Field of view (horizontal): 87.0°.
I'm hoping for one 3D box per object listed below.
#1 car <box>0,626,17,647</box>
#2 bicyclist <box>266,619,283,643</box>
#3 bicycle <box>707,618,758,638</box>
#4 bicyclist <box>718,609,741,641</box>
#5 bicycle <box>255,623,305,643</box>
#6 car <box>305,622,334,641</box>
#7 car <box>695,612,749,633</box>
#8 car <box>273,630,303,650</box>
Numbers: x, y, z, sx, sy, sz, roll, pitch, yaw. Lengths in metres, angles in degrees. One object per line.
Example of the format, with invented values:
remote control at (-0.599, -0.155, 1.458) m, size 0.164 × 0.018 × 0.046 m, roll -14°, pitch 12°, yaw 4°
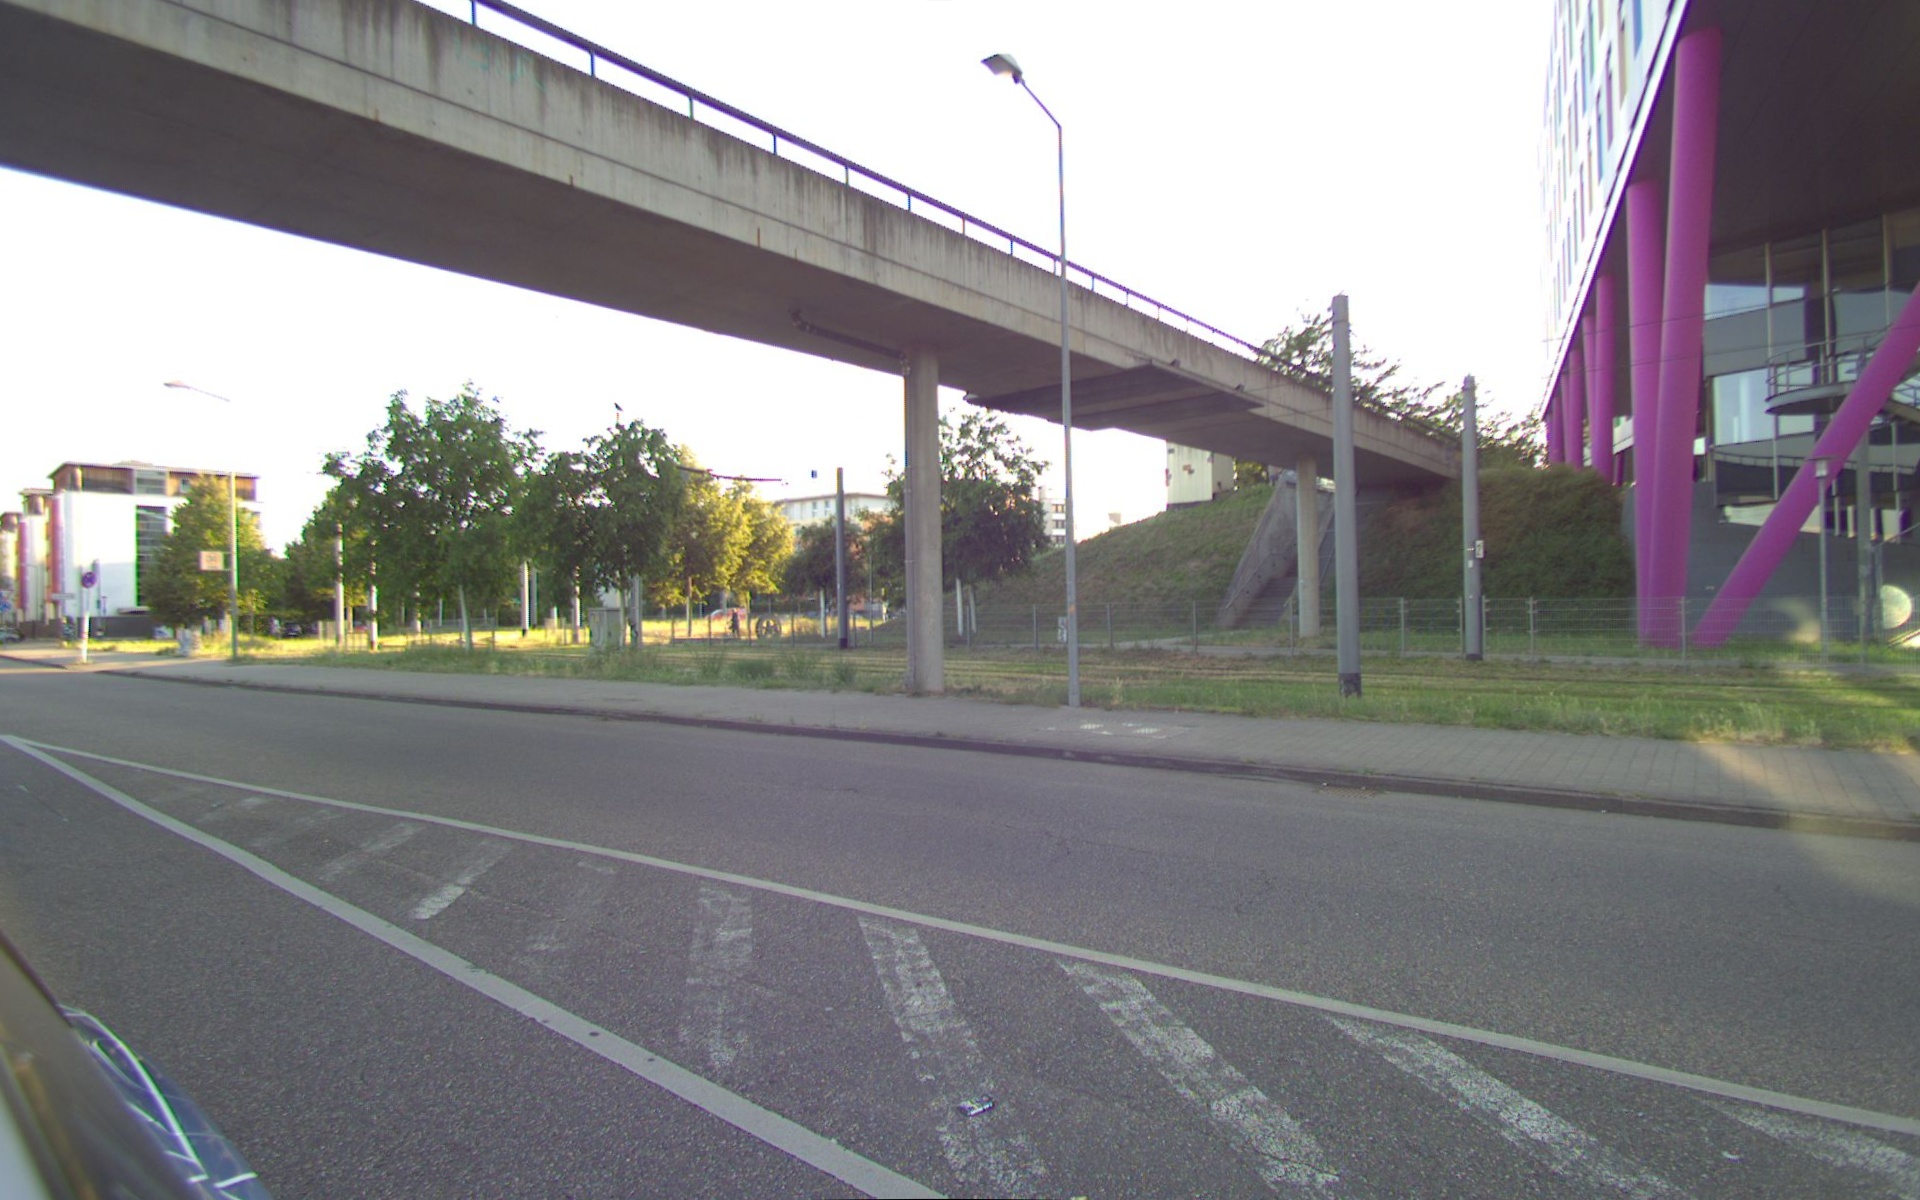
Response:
car at (-80.483, 3.049, 83.366) m, size 2.000 × 1.741 × 3.944 m, roll -2°, pitch -1°, yaw 42°
bicyclist at (-54.001, 2.448, 79.670) m, size 1.018 × 1.890 × 0.885 m, roll 1°, pitch -2°, yaw -40°
bicycle at (-11.875, 1.453, 52.907) m, size 0.654 × 1.016 × 2.808 m, roll -2°, pitch -1°, yaw 37°
bicyclist at (-12.050, 1.321, 52.903) m, size 0.716 × 1.644 × 0.899 m, roll -2°, pitch -1°, yaw 35°
bicycle at (-53.685, 2.595, 79.922) m, size 3.267 × 1.503 × 0.889 m, roll -1°, pitch -1°, yaw -37°
car at (-55.179, 2.727, 87.147) m, size 1.913 × 1.541 × 4.009 m, roll -1°, pitch -1°, yaw -36°
car at (-25.390, 2.392, 108.149) m, size 5.445 × 2.029 × 2.001 m, roll 0°, pitch -1°, yaw -45°
car at (-56.914, 3.366, 85.697) m, size 1.913 × 1.541 × 4.009 m, roll -1°, pitch -1°, yaw -36°
